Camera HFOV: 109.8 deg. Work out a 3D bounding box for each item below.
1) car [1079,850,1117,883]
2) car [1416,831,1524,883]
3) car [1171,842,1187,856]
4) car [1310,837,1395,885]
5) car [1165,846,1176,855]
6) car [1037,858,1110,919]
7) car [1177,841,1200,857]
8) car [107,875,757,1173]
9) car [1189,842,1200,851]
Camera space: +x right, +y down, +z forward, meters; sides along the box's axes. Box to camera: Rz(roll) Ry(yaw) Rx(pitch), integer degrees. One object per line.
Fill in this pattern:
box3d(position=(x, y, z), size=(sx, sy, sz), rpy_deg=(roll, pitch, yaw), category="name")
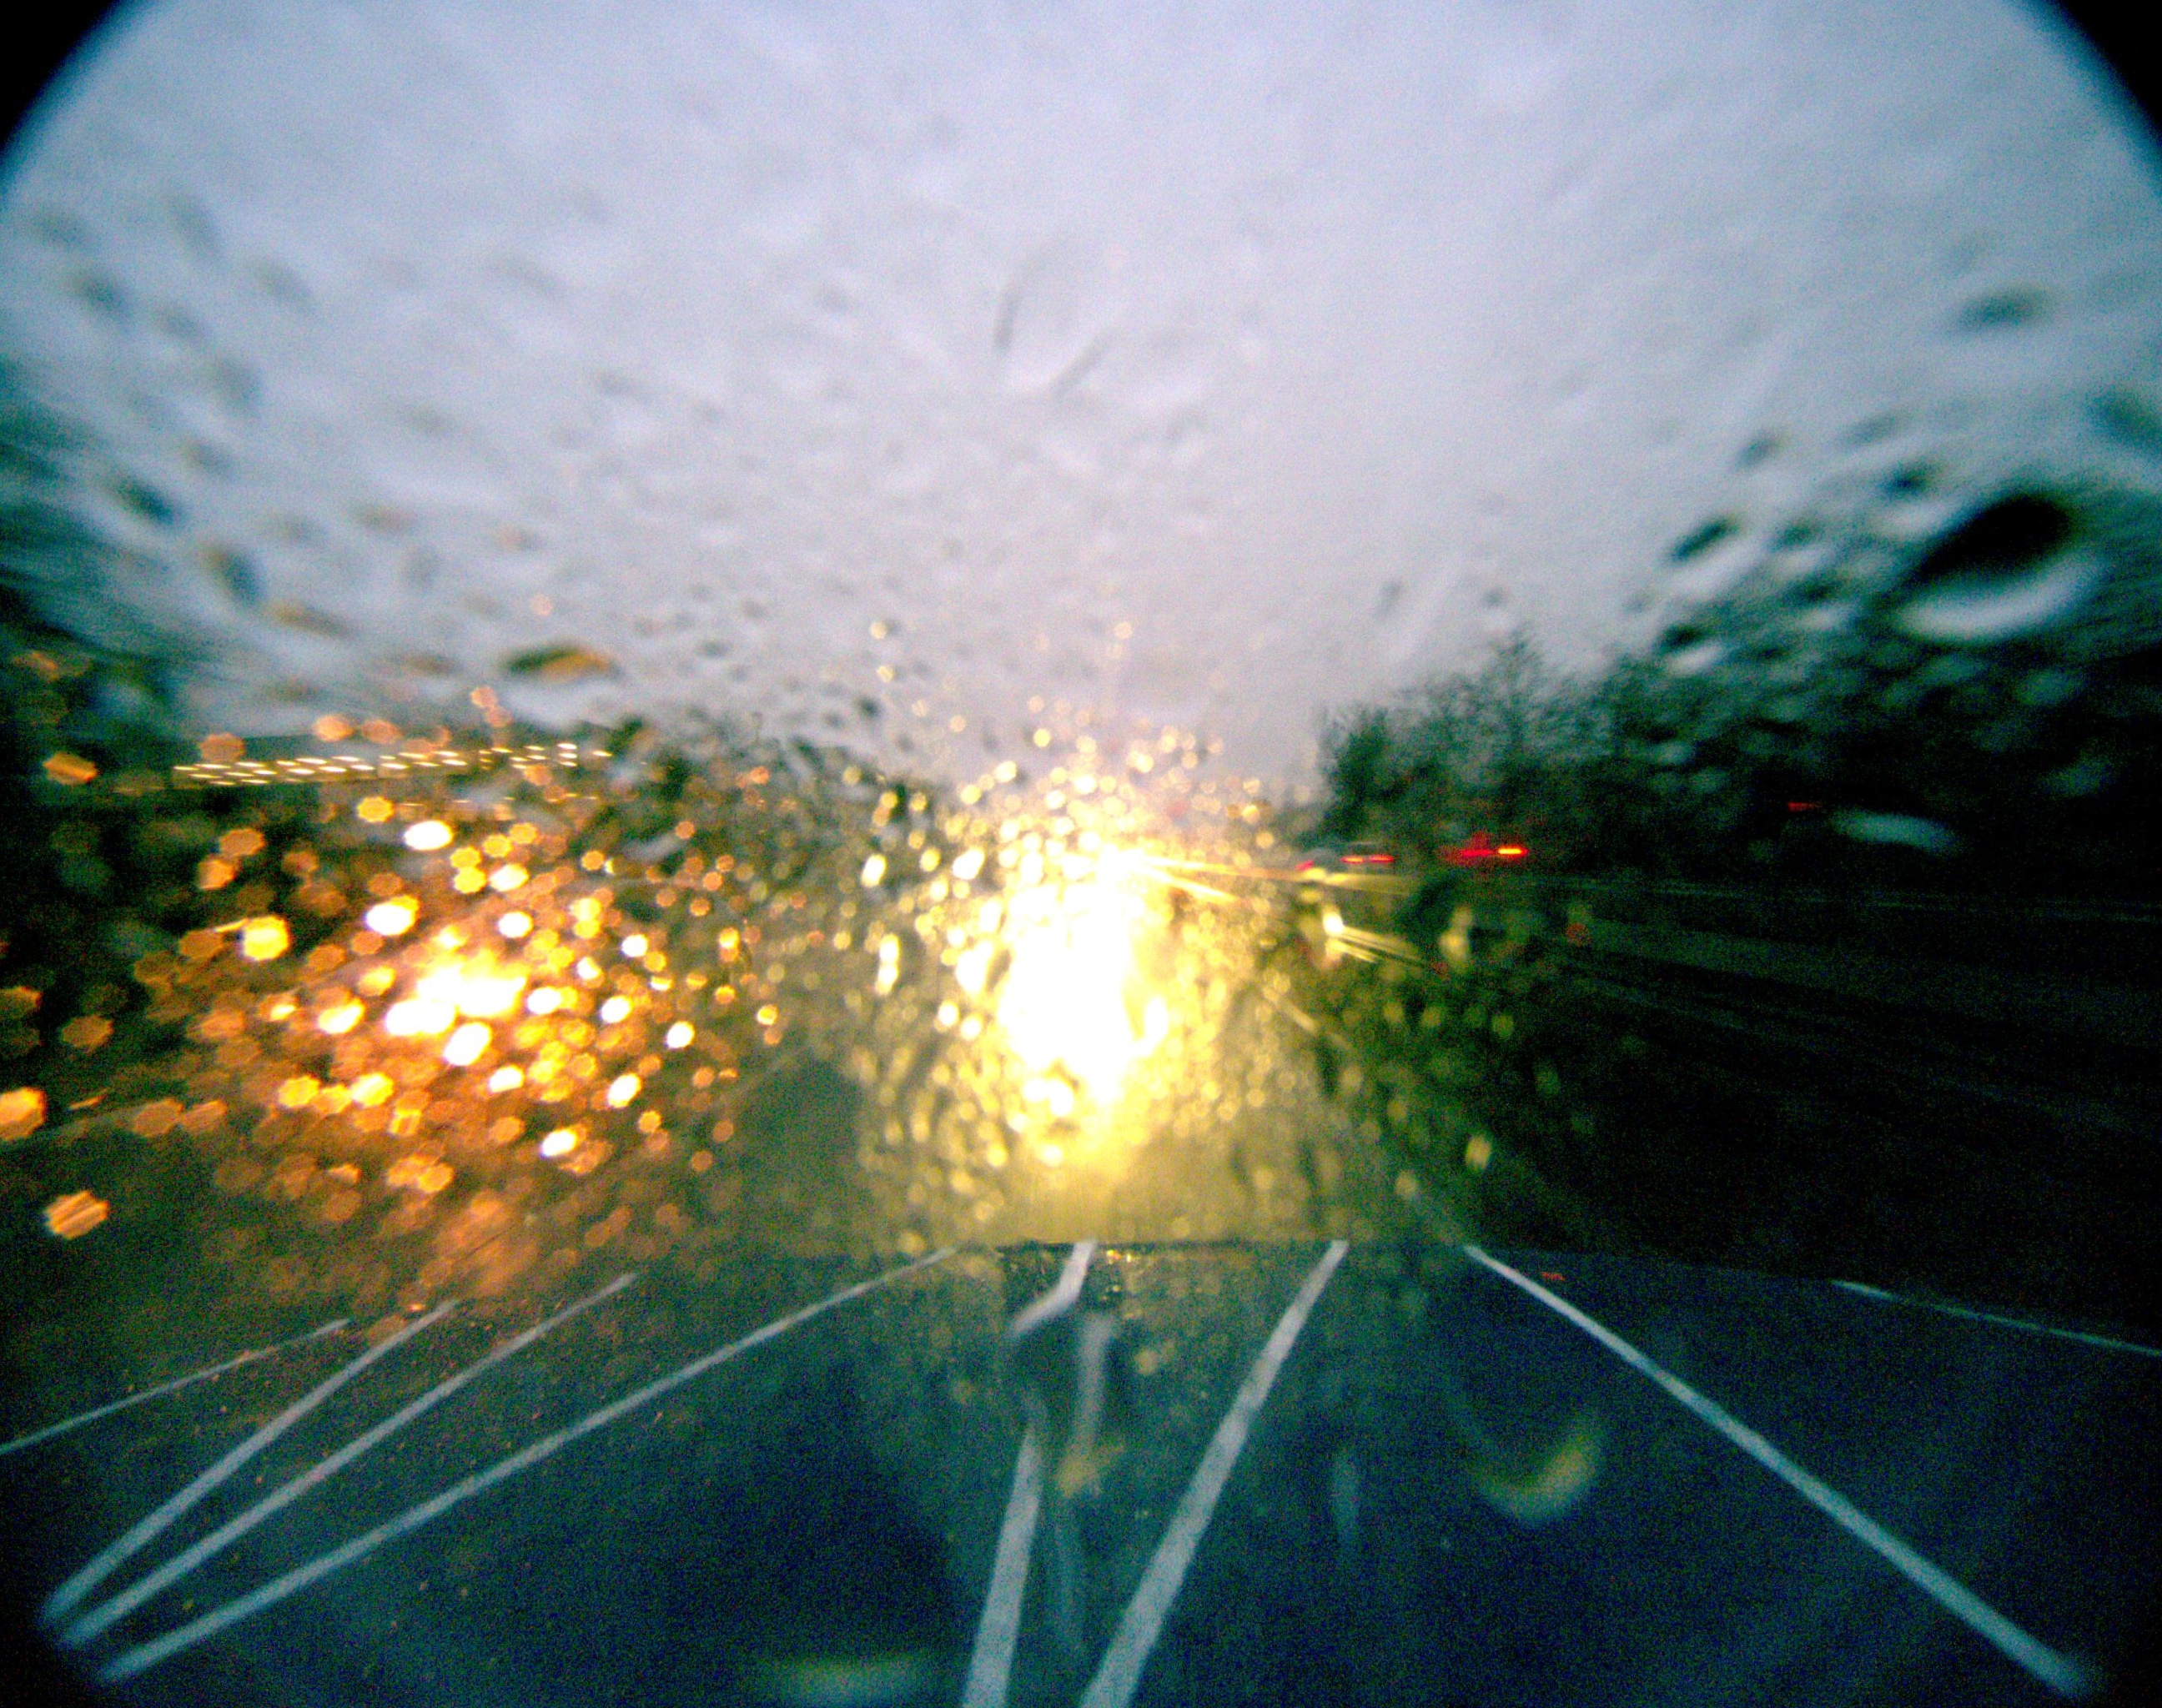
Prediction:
box3d(position=(0.842, 0.622, 39.718), size=(1.759, 1.521, 3.999), rpy_deg=(-3, 1, -1), category="car")
box3d(position=(15.354, 0.075, 30.298), size=(1.885, 1.822, 4.786), rpy_deg=(-3, 1, 1), category="car")
box3d(position=(12.072, -0.625, 93.591), size=(1.657, 1.510, 3.505), rpy_deg=(-3, 1, 3), category="car")
box3d(position=(11.344, 0.237, 32.099), size=(1.888, 1.822, 4.786), rpy_deg=(-3, 1, 1), category="car")
box3d(position=(15.971, -0.645, 136.032), size=(1.620, 1.475, 4.599), rpy_deg=(-3, 1, 4), category="car")
box3d(position=(-0.116, 0.897, 21.394), size=(1.594, 1.445, 4.177), rpy_deg=(-3, 0, 5), category="car")
box3d(position=(10.977, -0.487, 77.759), size=(1.787, 1.501, 4.135), rpy_deg=(-3, 1, 2), category="car")
box3d(position=(-4.718, 1.064, 6.594), size=(1.854, 1.493, 4.262), rpy_deg=(-3, 1, 1), category="car")
box3d(position=(21.424, -1.367, 143.519), size=(1.708, 1.557, 4.851), rpy_deg=(-3, 1, 4), category="car")
